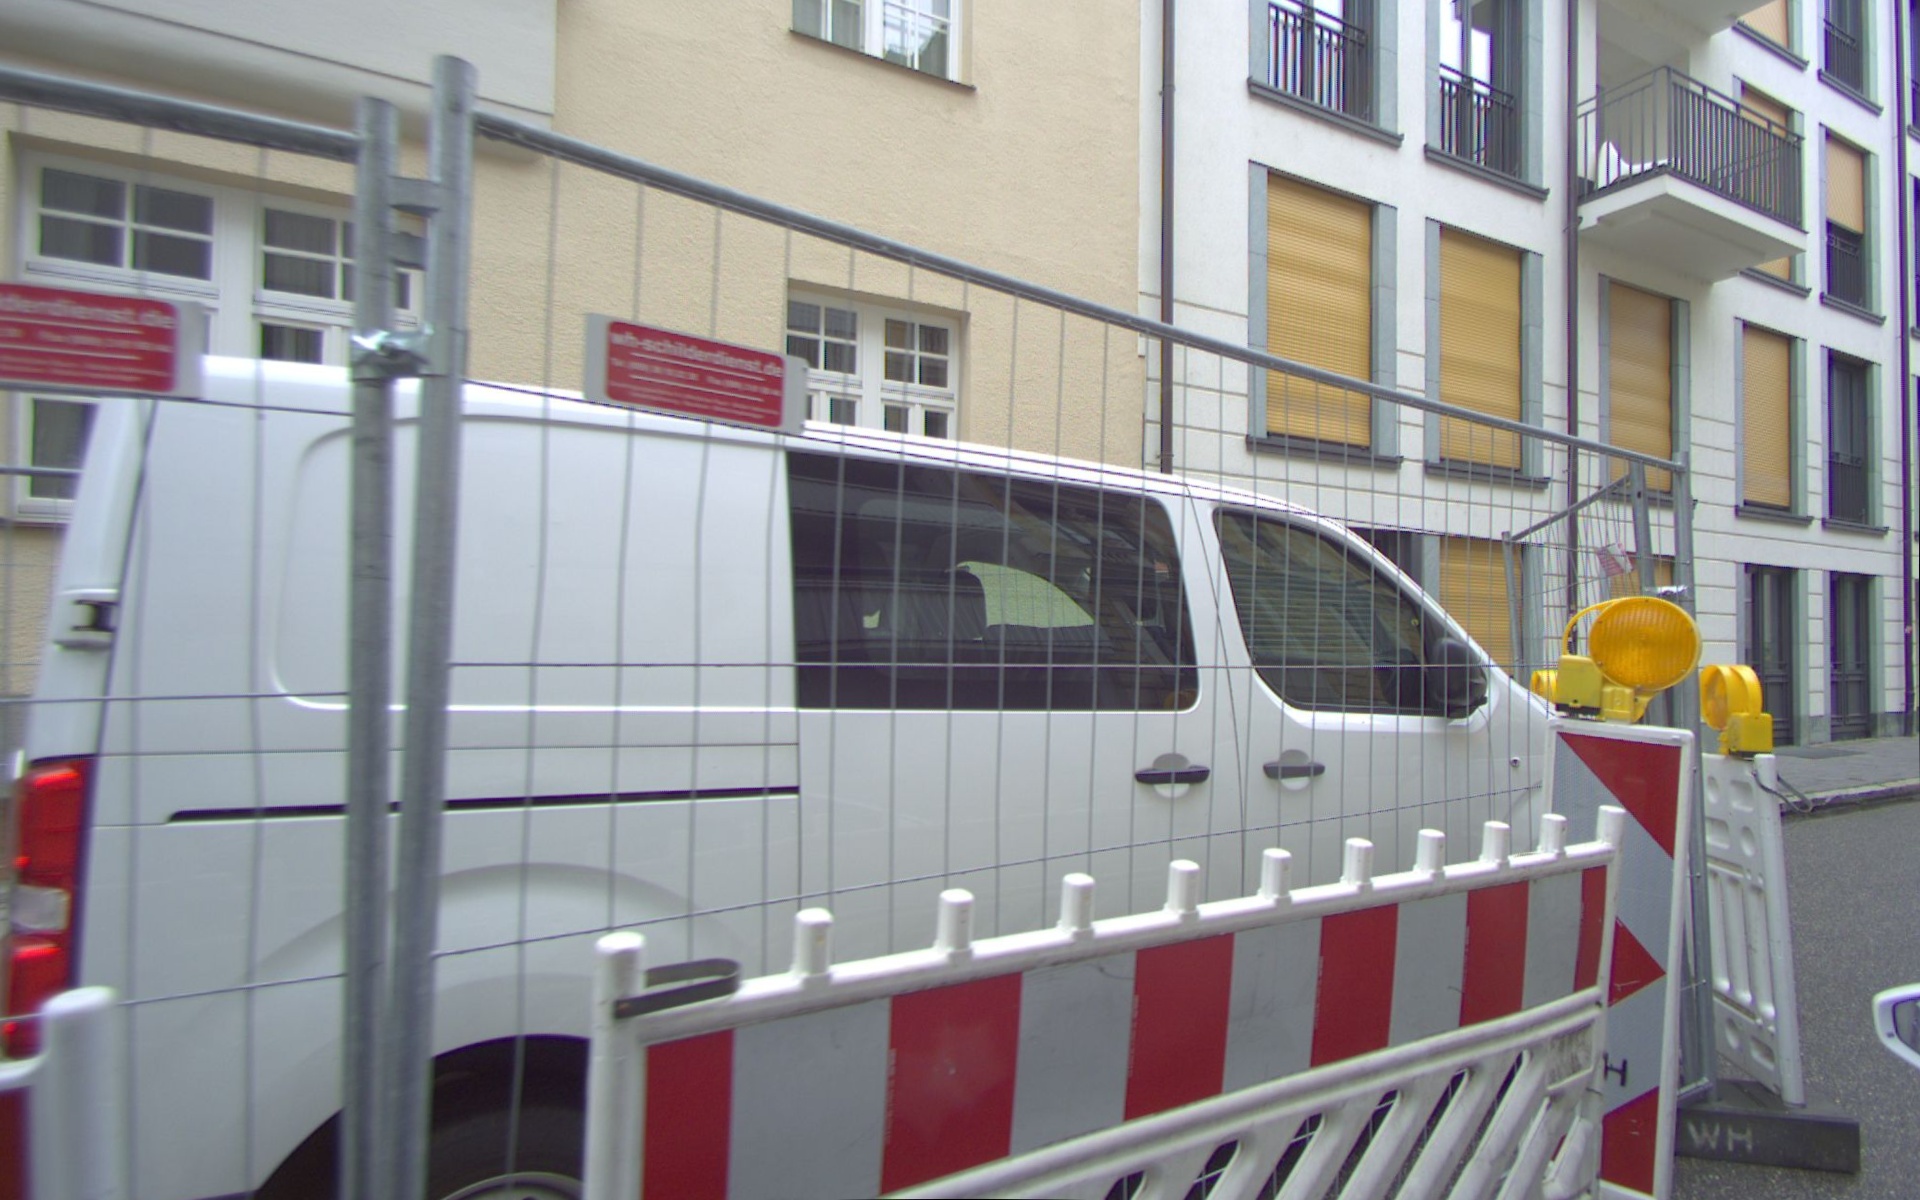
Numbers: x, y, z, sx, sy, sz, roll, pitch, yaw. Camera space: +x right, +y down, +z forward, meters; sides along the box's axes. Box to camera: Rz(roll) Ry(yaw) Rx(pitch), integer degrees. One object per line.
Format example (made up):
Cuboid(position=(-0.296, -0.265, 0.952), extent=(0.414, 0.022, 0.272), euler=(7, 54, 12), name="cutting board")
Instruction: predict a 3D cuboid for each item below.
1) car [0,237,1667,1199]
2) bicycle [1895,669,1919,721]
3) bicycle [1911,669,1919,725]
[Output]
Cuboid(position=(-0.044, 0.588, 3.123), extent=(5.033, 1.922, 1.894), euler=(2, -2, -32), name="car")
Cuboid(position=(17.642, 1.712, 17.900), extent=(1.366, 0.900, 0.379), euler=(0, 0, 28), name="bicycle")
Cuboid(position=(17.199, 1.691, 17.364), extent=(1.047, 0.960, 0.307), euler=(0, 0, 28), name="bicycle")
